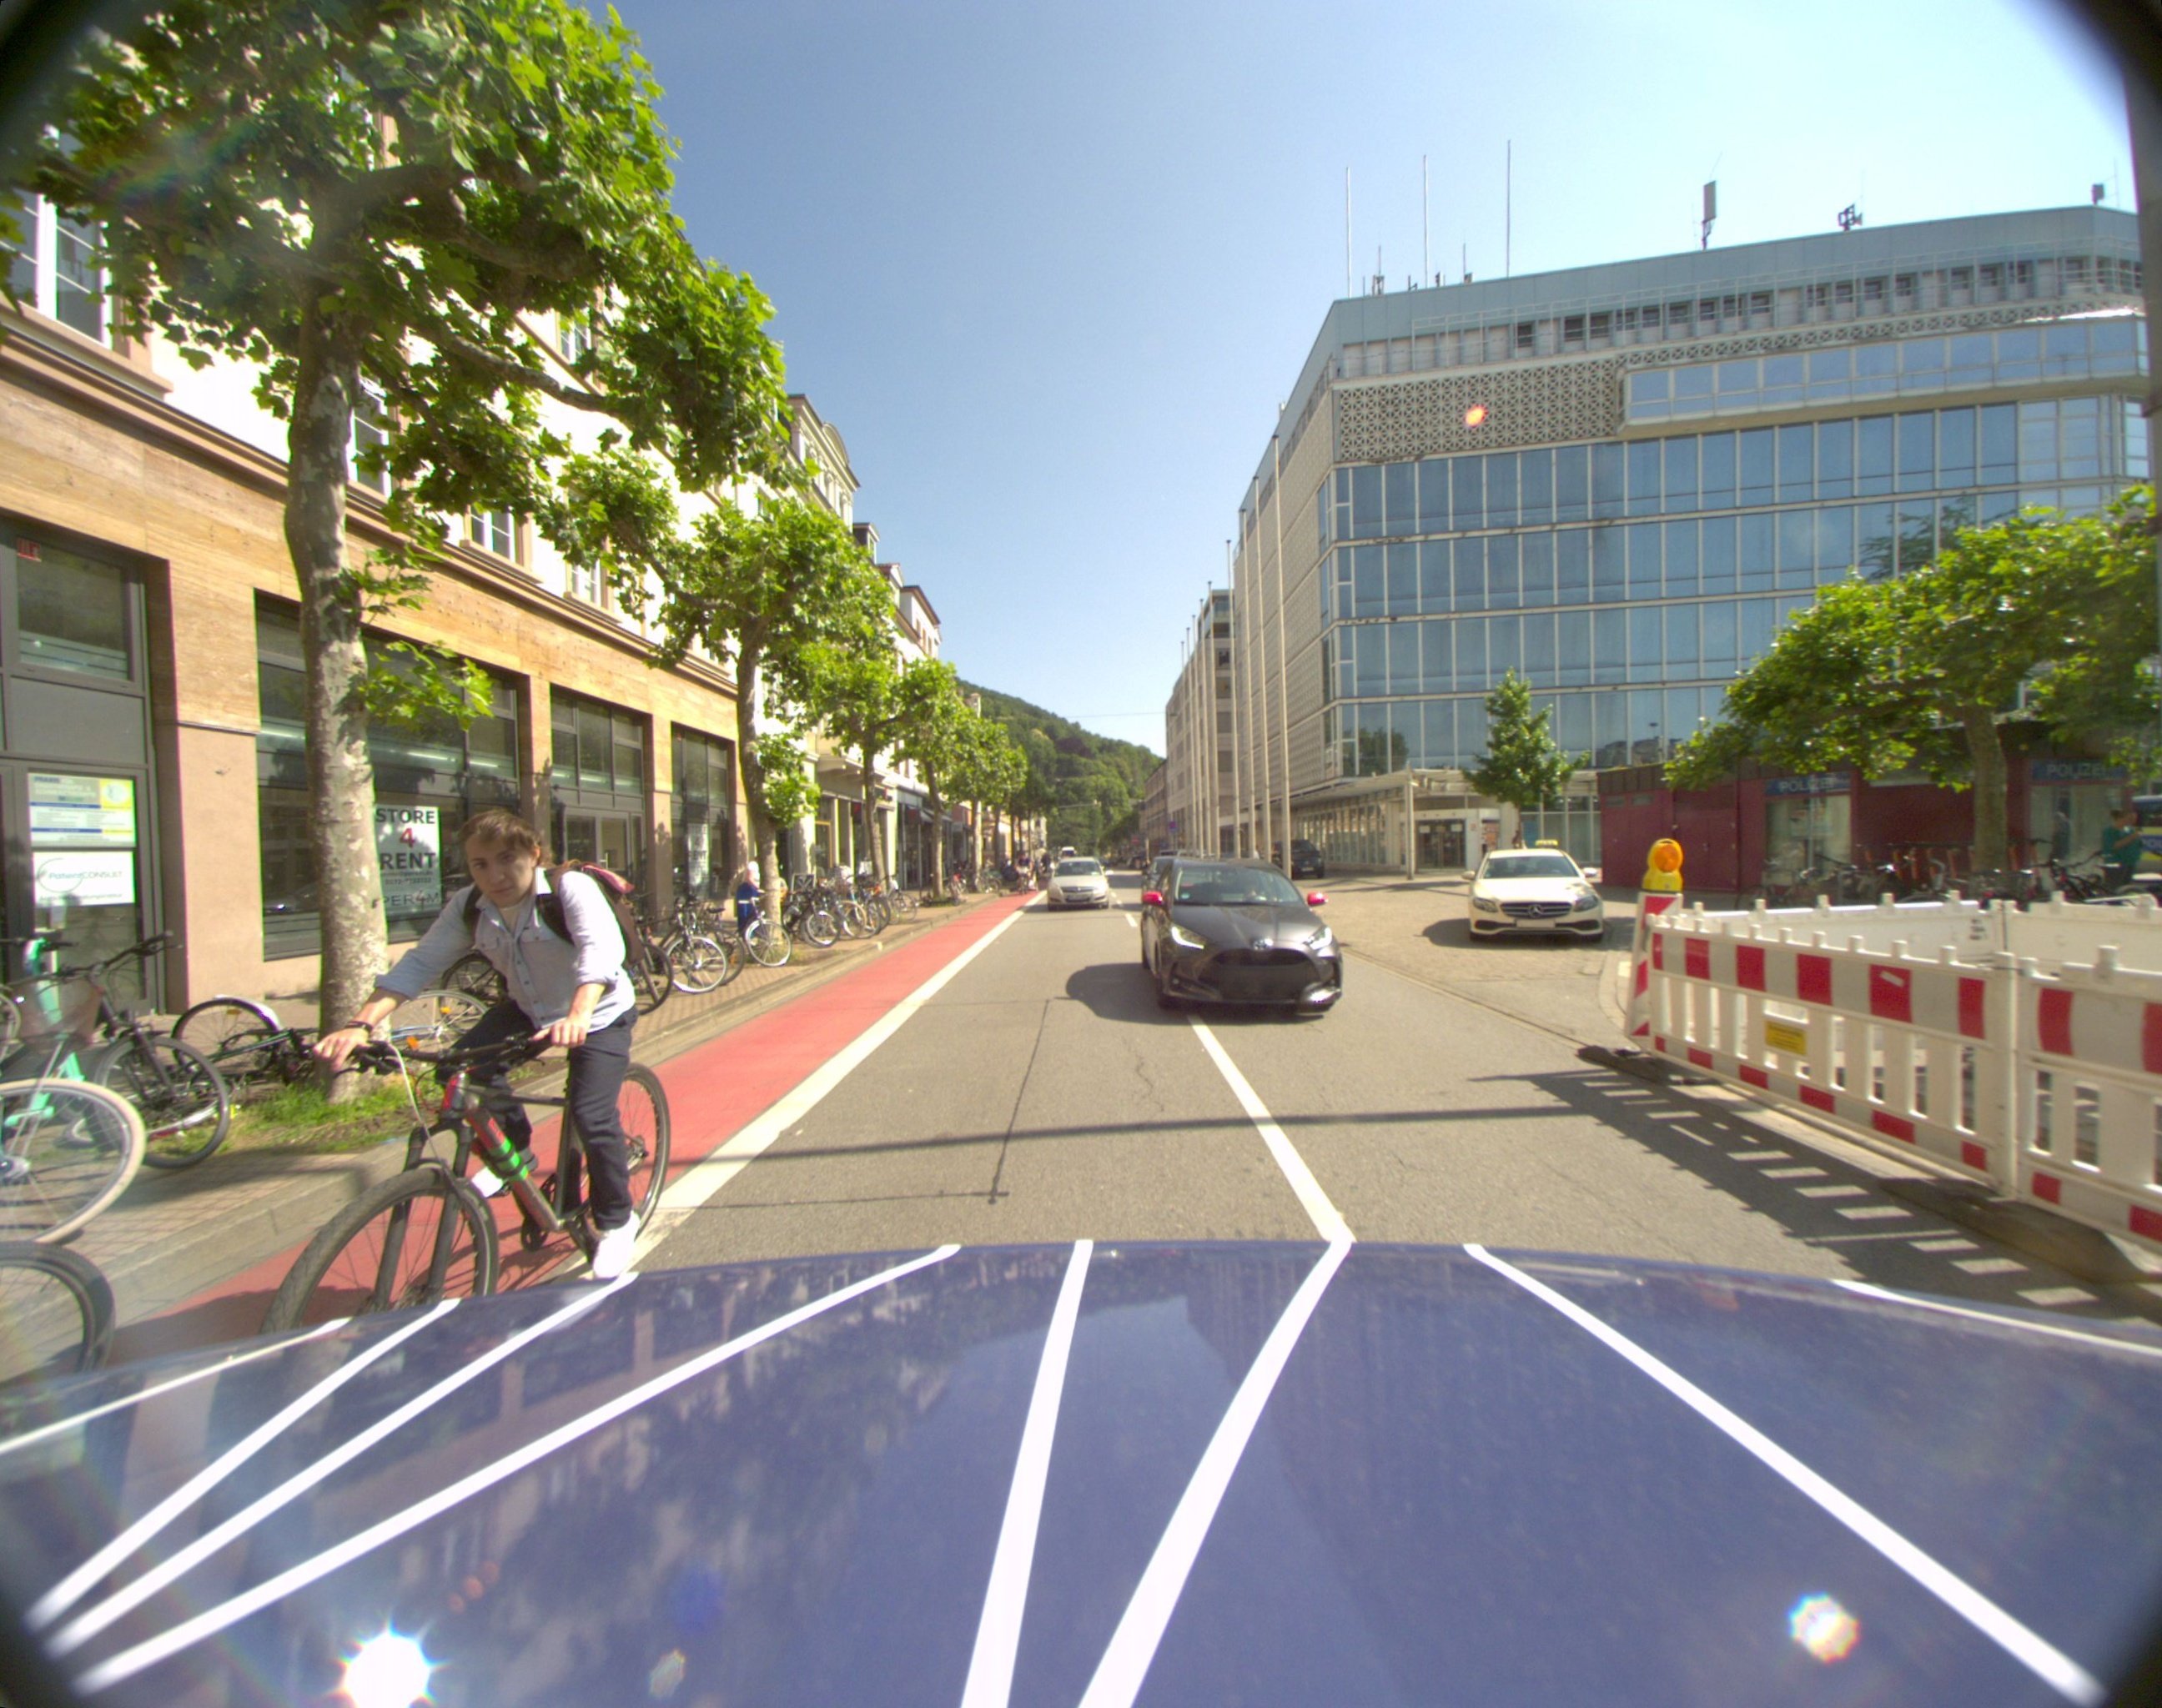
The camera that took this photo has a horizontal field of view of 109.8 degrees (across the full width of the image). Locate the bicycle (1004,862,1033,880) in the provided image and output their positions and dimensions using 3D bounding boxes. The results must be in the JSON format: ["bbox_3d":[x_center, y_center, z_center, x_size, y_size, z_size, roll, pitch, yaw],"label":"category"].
[{"bbox_3d":[-4.130,1.107,50.442,1.849,1.120,0.592,-2,2,-35],"label":"bicycle"}]

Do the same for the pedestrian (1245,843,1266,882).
[{"bbox_3d":[8.129,0.376,35.393,0.618,1.782,0.694,-1,1,40],"label":"pedestrian"}]

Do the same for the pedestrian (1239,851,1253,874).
[{"bbox_3d":[12.019,0.619,55.394,0.789,1.651,0.641,-4,2,-2],"label":"pedestrian"}]

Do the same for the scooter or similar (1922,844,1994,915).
[{"bbox_3d":[15.771,0.433,13.697,0.233,1.207,1.305,-2,1,20],"label":"scooter or similar"}]

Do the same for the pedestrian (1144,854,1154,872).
[{"bbox_3d":[5.928,0.765,66.099,0.641,1.550,0.680,-3,0,-11],"label":"pedestrian"}]

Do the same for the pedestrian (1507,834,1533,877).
[{"bbox_3d":[17.402,0.057,30.138,0.684,1.705,0.723,0,1,10],"label":"pedestrian"}]

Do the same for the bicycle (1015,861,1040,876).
[{"bbox_3d":[-4.052,1.111,57.861,1.844,1.120,0.666,-1,1,2],"label":"bicycle"}]

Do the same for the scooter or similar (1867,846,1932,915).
[{"bbox_3d":[15.110,0.460,14.056,0.233,1.207,1.305,-2,1,20],"label":"scooter or similar"}]

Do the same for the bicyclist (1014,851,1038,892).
[{"bbox_3d":[-2.313,0.730,31.910,0.731,1.664,0.775,0,1,19],"label":"bicyclist"}]

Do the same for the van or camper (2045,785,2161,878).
[{"bbox_3d":[23.206,-0.477,15.026,1.877,1.907,5.024,-2,1,-1],"label":"van or camper"}]

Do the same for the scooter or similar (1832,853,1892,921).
[{"bbox_3d":[14.697,0.594,14.321,0.233,1.207,1.305,-2,1,20],"label":"scooter or similar"}]

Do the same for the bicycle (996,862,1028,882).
[{"bbox_3d":[-4.254,1.119,46.875,1.846,1.120,0.632,-4,1,-10],"label":"bicycle"}]

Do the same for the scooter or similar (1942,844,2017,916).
[{"bbox_3d":[15.966,0.433,13.530,0.233,1.207,1.305,-2,1,20],"label":"scooter or similar"}]

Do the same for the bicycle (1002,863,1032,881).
[{"bbox_3d":[-4.120,1.152,49.088,1.844,1.087,0.564,-3,1,1],"label":"bicycle"}]

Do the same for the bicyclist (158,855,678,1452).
[{"bbox_3d":[-1.889,0.741,2.364,0.700,1.437,0.960,-3,1,-3],"label":"bicyclist"}]

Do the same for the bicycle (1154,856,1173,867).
[{"bbox_3d":[8.944,0.811,82.737,2.058,1.162,0.606,0,1,37],"label":"bicycle"}]

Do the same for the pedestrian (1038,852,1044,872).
[{"bbox_3d":[-3.647,0.741,69.563,0.453,1.784,0.608,-3,0,-2],"label":"pedestrian"}]

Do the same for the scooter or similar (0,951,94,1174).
[{"bbox_3d":[-6.185,1.193,4.094,0.422,1.171,1.230,-2,1,-20],"label":"scooter or similar"}]

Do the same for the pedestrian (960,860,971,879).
[{"bbox_3d":[-8.331,1.106,54.946,0.683,1.330,0.532,-1,0,-2],"label":"pedestrian"}]

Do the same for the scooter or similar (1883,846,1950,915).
[{"bbox_3d":[15.339,0.459,13.975,0.233,1.207,1.305,-2,1,20],"label":"scooter or similar"}]

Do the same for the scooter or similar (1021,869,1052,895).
[{"bbox_3d":[-1.941,1.229,33.283,0.784,1.054,1.128,-3,0,31],"label":"scooter or similar"}]

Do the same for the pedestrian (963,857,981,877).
[{"bbox_3d":[-8.445,1.019,59.131,1.255,1.475,0.837,-2,1,-2],"label":"pedestrian"}]

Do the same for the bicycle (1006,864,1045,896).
[{"bbox_3d":[-2.304,1.067,31.936,0.733,1.261,2.285,-3,-1,20],"label":"bicycle"}]

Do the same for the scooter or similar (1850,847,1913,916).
[{"bbox_3d":[14.901,0.490,14.168,0.233,1.207,1.305,-2,1,20],"label":"scooter or similar"}]

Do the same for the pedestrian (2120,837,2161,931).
[{"bbox_3d":[15.372,0.410,10.696,0.673,1.301,0.686,-2,1,-17],"label":"pedestrian"}]

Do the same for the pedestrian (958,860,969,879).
[{"bbox_3d":[-8.417,1.117,54.350,0.683,1.325,0.532,-2,0,-2],"label":"pedestrian"}]

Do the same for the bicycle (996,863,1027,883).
[{"bbox_3d":[-4.347,1.181,47.376,1.846,1.087,0.564,-3,1,-10],"label":"bicycle"}]

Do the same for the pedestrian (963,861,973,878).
[{"bbox_3d":[-8.359,1.150,56.089,0.641,1.246,0.608,0,2,-2],"label":"pedestrian"}]

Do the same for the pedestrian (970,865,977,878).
[{"bbox_3d":[-7.826,1.274,55.300,0.342,0.962,0.437,-2,0,2],"label":"pedestrian"}]

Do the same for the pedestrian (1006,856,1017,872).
[{"bbox_3d":[-7.522,1.072,82.101,0.904,1.603,0.974,-1,4,-28],"label":"pedestrian"}]

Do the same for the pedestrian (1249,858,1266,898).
[{"bbox_3d":[8.017,1.072,34.523,0.531,1.782,0.540,-1,1,40],"label":"pedestrian"}]

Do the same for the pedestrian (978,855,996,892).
[{"bbox_3d":[-4.375,0.894,35.474,0.641,1.679,0.843,-3,0,-2],"label":"pedestrian"}]

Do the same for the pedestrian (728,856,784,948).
[{"bbox_3d":[-5.851,0.844,13.696,0.616,1.603,0.745,-2,1,2],"label":"pedestrian"}]

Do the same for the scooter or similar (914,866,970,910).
[{"bbox_3d":[-4.273,1.041,23.375,1.477,1.267,0.670,-3,1,12],"label":"scooter or similar"}]

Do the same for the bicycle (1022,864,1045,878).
[{"bbox_3d":[-3.986,1.437,64.181,1.855,0.396,1.014,-9,35,5],"label":"bicycle"}]

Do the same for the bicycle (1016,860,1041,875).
[{"bbox_3d":[-4.137,1.095,59.721,1.844,1.120,0.643,-1,1,2],"label":"bicycle"}]

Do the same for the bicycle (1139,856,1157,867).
[{"bbox_3d":[7.346,0.855,83.220,0.606,1.166,2.059,-4,2,-45],"label":"bicycle"}]

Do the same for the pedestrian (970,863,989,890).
[{"bbox_3d":[-4.942,1.101,37.109,0.789,1.236,0.576,-3,2,-2],"label":"pedestrian"}]

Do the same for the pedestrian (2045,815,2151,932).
[{"bbox_3d":[15.160,0.278,11.338,0.673,1.668,0.687,-2,1,-7],"label":"pedestrian"}]

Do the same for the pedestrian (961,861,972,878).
[{"bbox_3d":[-8.352,1.131,55.491,0.683,1.246,0.532,0,0,-2],"label":"pedestrian"}]

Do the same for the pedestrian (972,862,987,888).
[{"bbox_3d":[-5.042,1.057,37.721,0.641,1.226,0.596,-3,2,-2],"label":"pedestrian"}]

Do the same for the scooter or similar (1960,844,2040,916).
[{"bbox_3d":[16.200,0.426,13.425,0.264,1.207,1.305,-2,1,20],"label":"scooter or similar"}]

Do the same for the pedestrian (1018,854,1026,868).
[{"bbox_3d":[-7.684,0.893,99.025,0.840,1.781,0.767,-1,1,1],"label":"pedestrian"}]

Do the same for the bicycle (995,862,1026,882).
[{"bbox_3d":[-4.479,1.139,48.119,1.846,1.120,0.764,-4,2,-12],"label":"bicycle"}]

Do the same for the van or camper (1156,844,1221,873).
[{"bbox_3d":[8.425,0.353,59.793,4.648,2.001,2.004,-3,0,40],"label":"van or camper"}]

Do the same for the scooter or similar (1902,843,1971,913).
[{"bbox_3d":[15.544,0.416,13.826,0.233,1.207,1.305,-2,1,20],"label":"scooter or similar"}]

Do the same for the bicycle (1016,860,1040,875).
[{"bbox_3d":[-4.284,1.076,61.556,1.844,1.120,0.666,-1,1,2],"label":"bicycle"}]

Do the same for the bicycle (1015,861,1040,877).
[{"bbox_3d":[-4.024,1.115,57.165,1.844,1.120,0.530,-1,2,2],"label":"bicycle"}]

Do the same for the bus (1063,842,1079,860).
[{"bbox_3d":[-2.096,-0.603,153.455,2.924,3.516,12.497,-1,0,-1],"label":"bus"}]
